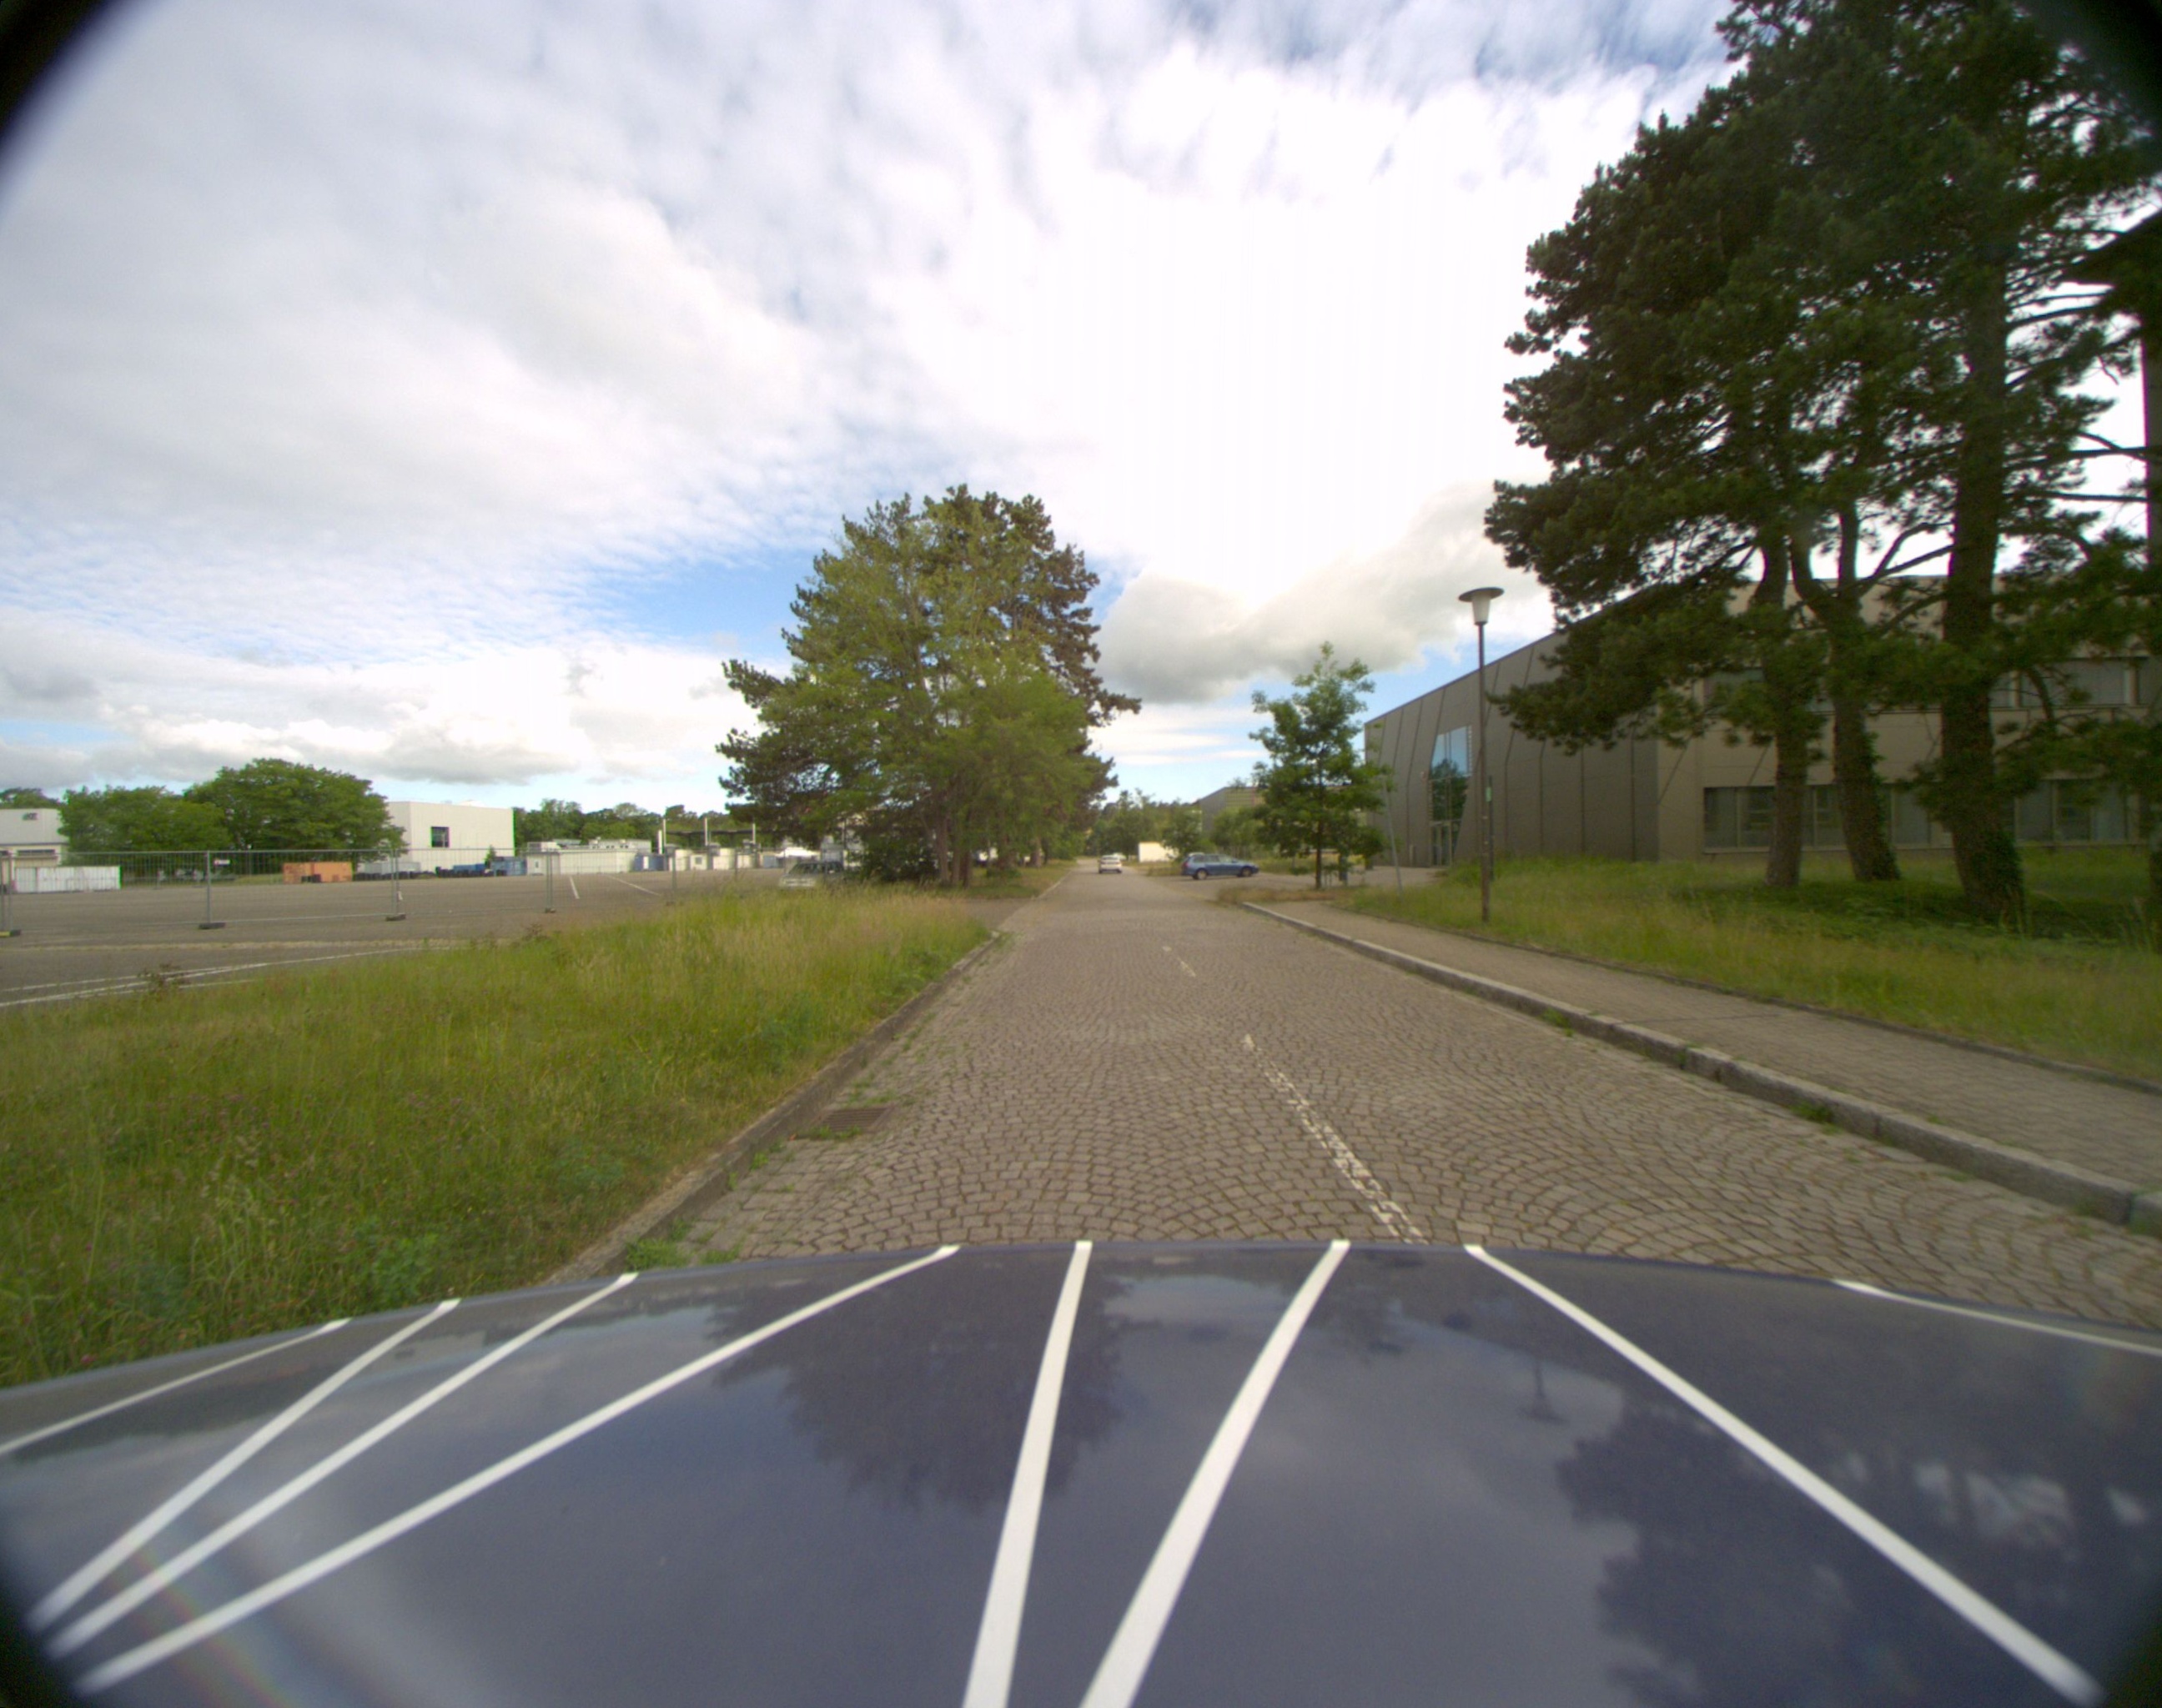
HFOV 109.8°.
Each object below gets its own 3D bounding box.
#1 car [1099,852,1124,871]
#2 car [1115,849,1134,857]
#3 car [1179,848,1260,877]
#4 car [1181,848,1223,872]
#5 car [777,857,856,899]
[{"bbox_3d":[2.453,0.563,62.002,1.778,1.430,4.217,1,0,-2],"label":"car"},{"bbox_3d":[9.365,-0.229,164.617,4.062,1.768,1.792,-2,1,0],"label":"car"},{"bbox_3d":[8.144,0.494,44.819,4.426,1.461,1.633,-3,1,-1],"label":"car"},{"bbox_3d":[8.274,0.405,52.187,2.584,1.521,1.500,-3,1,-1],"label":"car"},{"bbox_3d":[-10.544,0.902,30.648,1.678,1.442,4.488,-2,1,-2],"label":"car"}]
